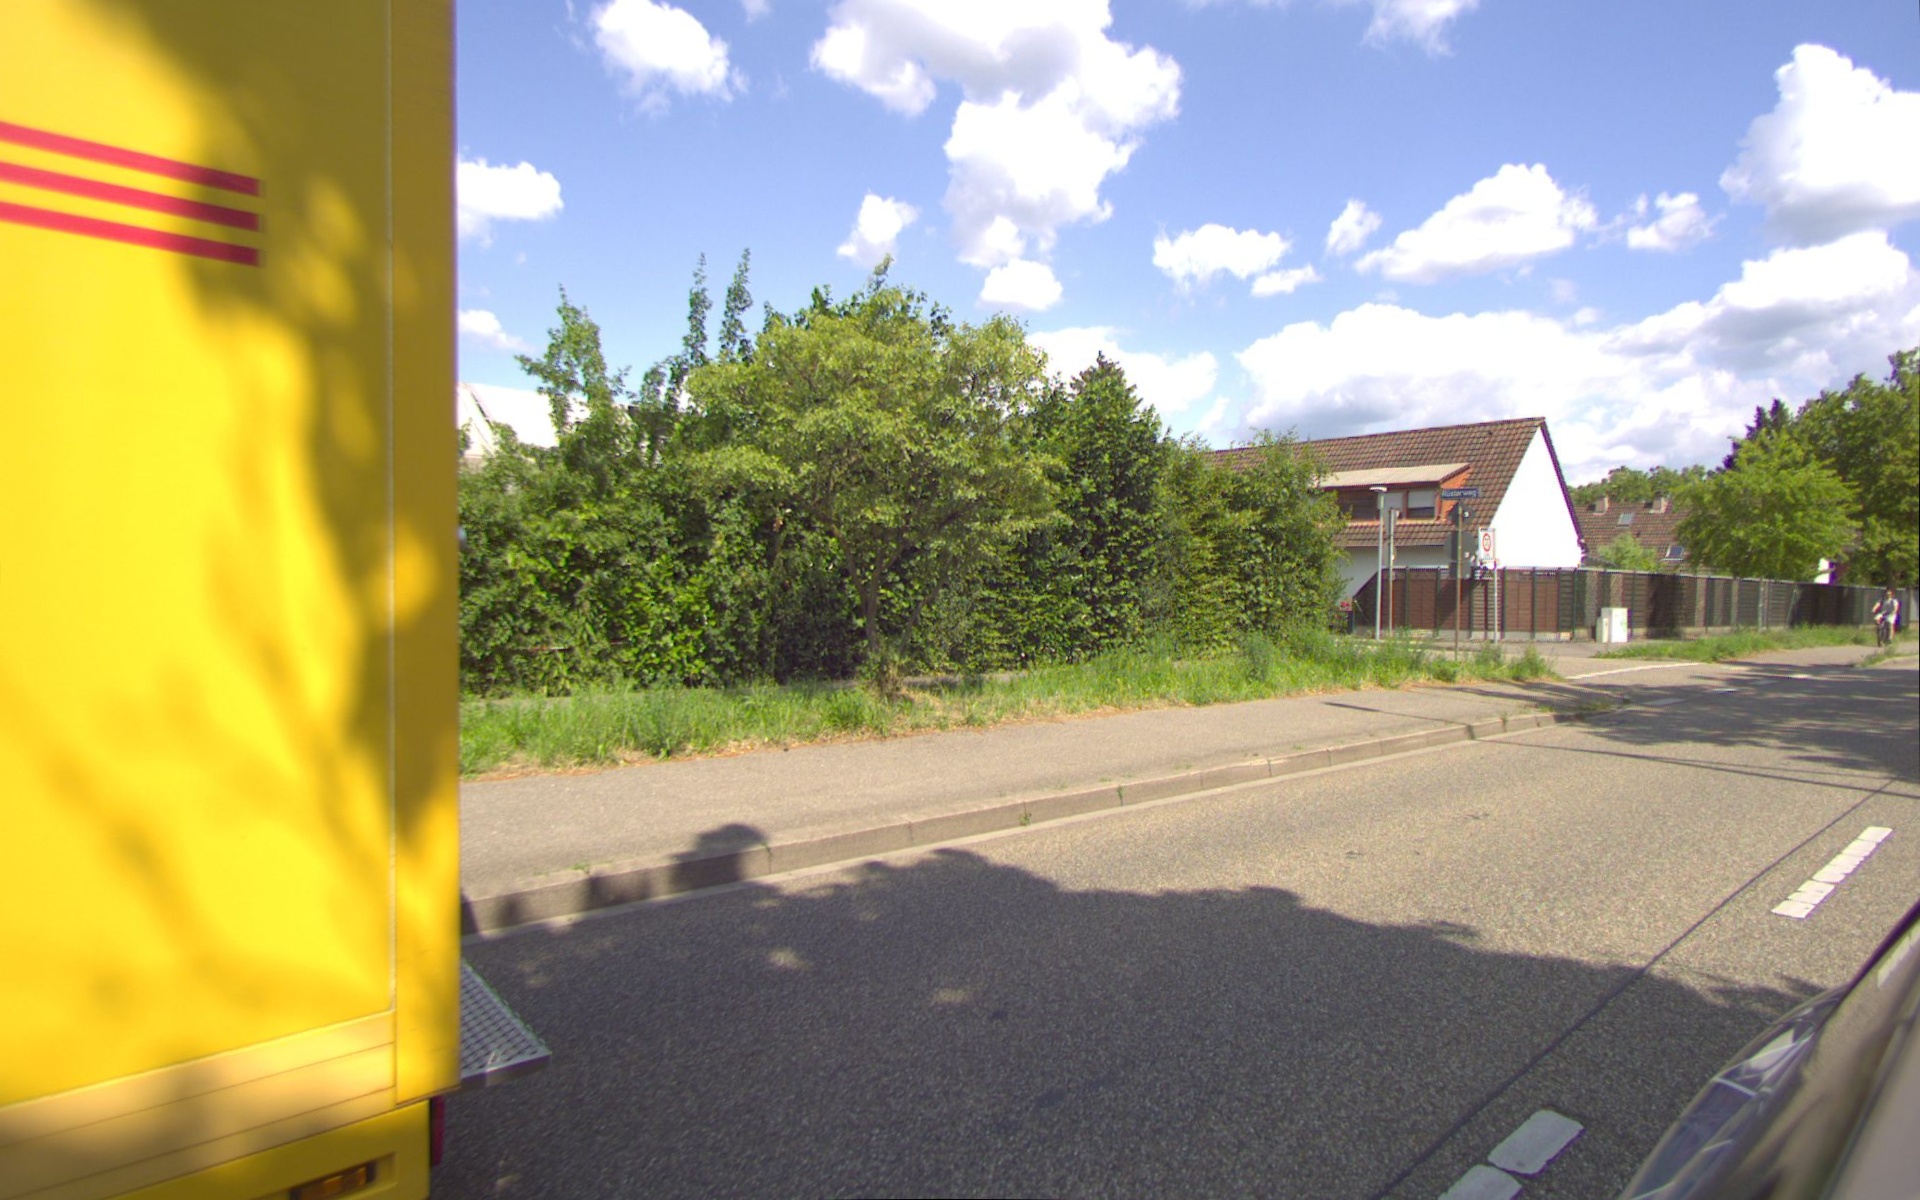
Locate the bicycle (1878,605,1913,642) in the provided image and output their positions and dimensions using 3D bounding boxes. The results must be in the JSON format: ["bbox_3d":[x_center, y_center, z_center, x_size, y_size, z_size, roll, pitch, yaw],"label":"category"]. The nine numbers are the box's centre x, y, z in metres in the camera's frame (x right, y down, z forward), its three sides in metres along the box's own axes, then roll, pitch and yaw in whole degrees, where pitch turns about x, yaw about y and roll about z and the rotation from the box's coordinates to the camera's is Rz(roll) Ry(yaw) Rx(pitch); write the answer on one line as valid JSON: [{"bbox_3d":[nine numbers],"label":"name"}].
[{"bbox_3d":[30.672,0.760,33.173,1.708,1.167,0.626,0,1,-40],"label":"bicycle"}]

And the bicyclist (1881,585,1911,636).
[{"bbox_3d":[30.691,0.336,33.185,0.688,1.655,0.620,1,1,-40],"label":"bicyclist"}]
